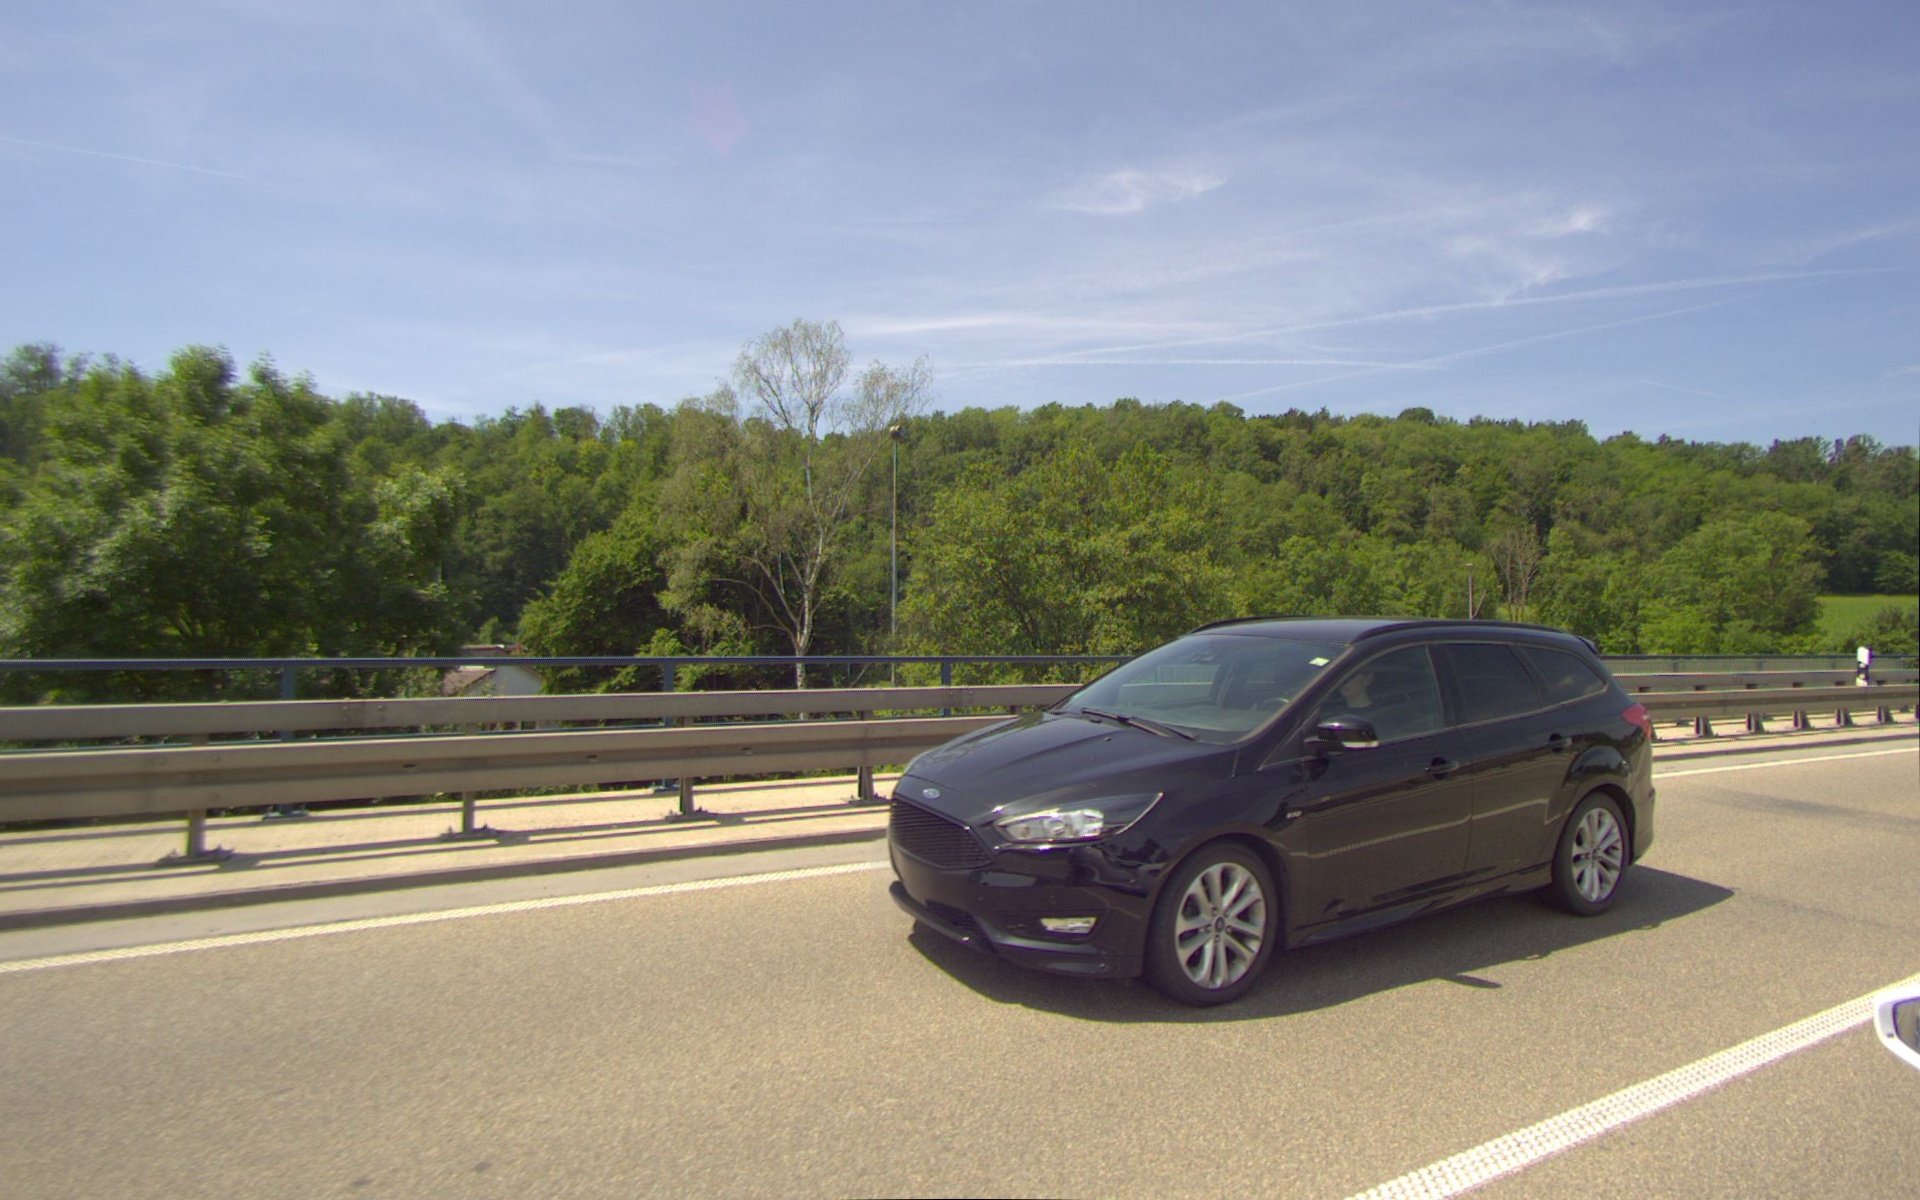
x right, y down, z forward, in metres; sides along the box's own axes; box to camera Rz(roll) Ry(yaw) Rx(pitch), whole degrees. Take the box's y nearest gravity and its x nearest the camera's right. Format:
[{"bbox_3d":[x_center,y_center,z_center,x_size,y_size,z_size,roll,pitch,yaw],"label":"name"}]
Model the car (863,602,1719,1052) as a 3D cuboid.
[{"bbox_3d":[1.910,0.817,5.265,4.516,1.502,1.712,2,-1,-31],"label":"car"}]
